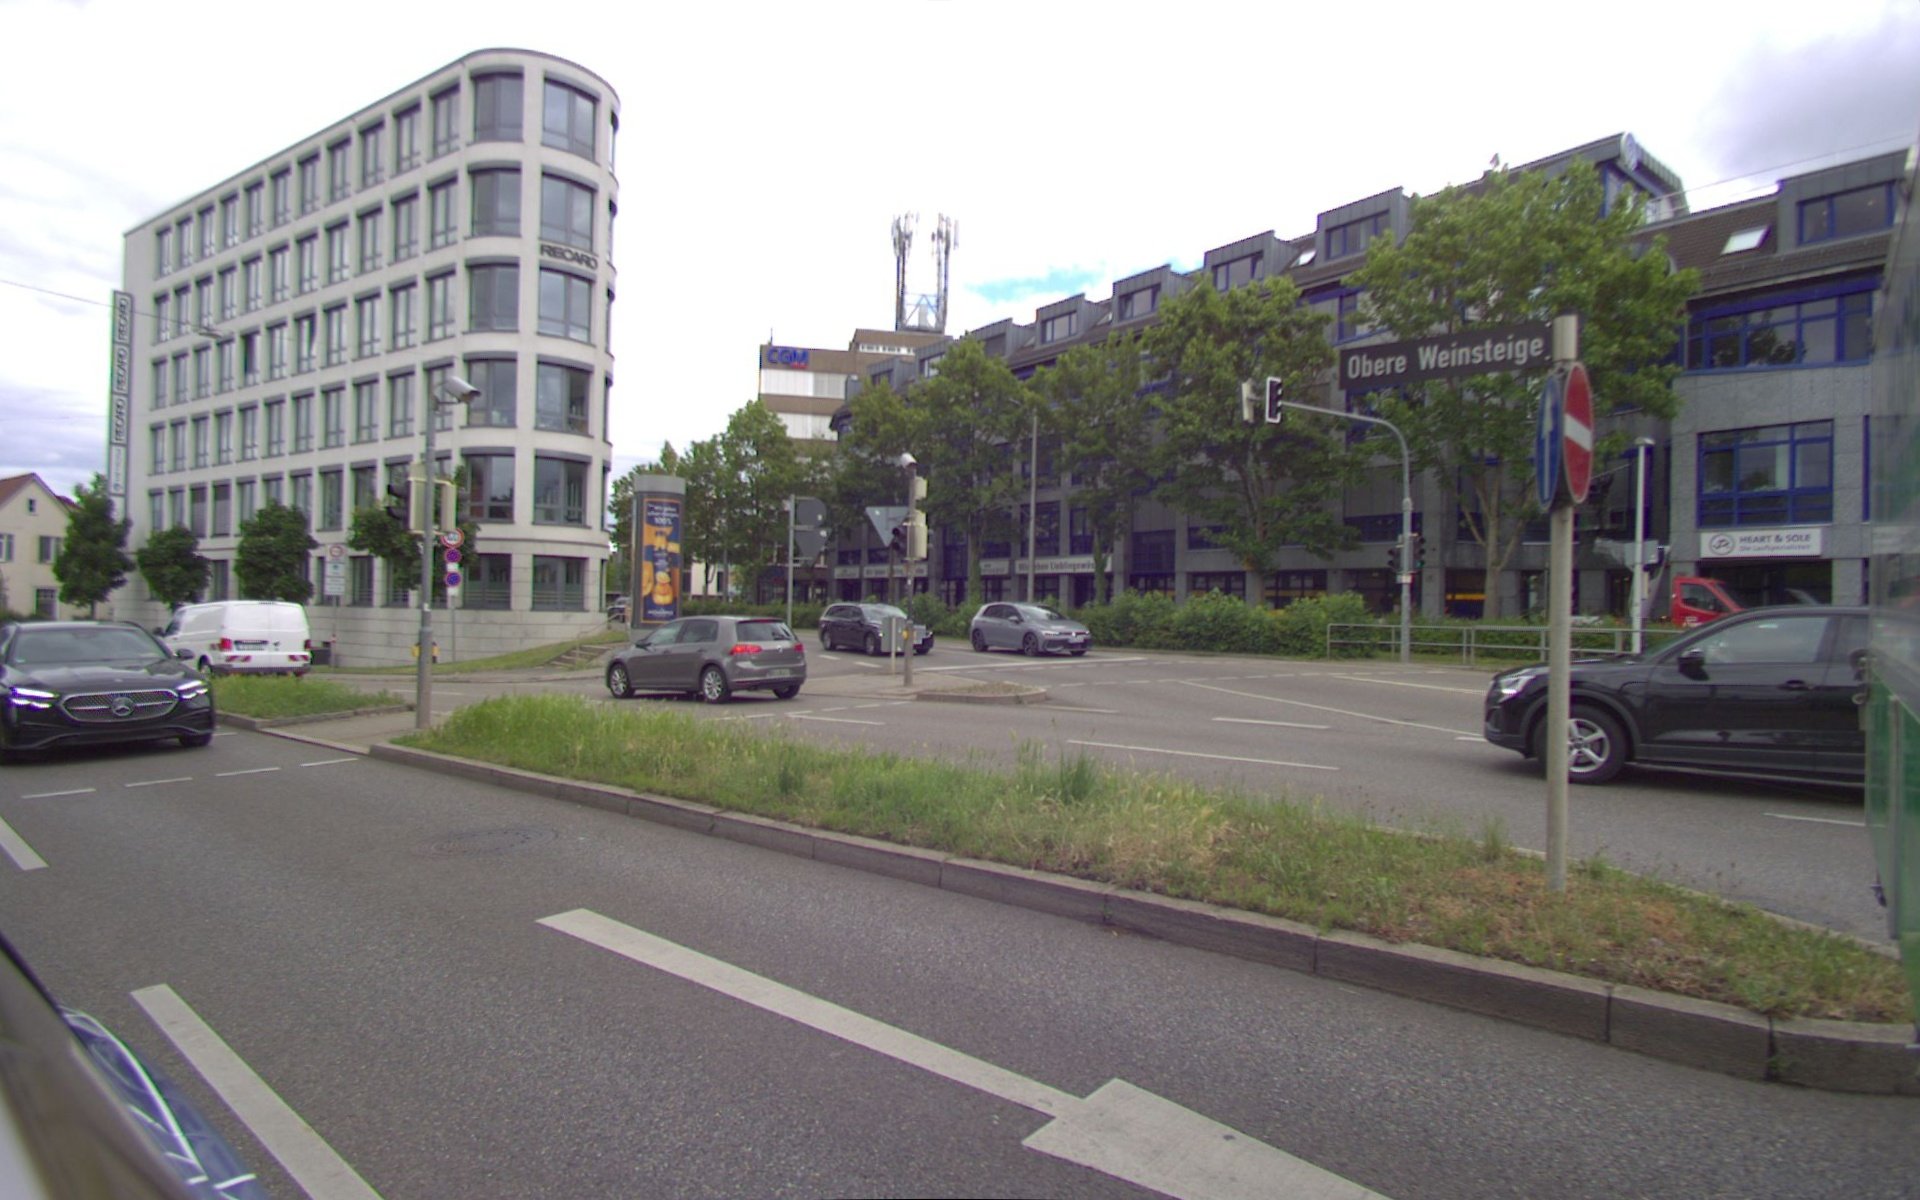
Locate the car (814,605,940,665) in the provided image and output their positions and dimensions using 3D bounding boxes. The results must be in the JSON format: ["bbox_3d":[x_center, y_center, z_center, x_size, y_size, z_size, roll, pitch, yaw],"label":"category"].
[{"bbox_3d":[-2.461,0.926,28.913,1.751,1.474,4.454,-2,1,-31],"label":"car"}]

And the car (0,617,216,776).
[{"bbox_3d":[-10.413,1.056,11.936,4.335,1.542,1.853,-4,-3,43],"label":"car"}]

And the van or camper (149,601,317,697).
[{"bbox_3d":[-16.959,1.074,23.537,4.442,2.029,1.975,-1,-1,38],"label":"van or camper"}]

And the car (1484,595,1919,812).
[{"bbox_3d":[6.562,0.716,8.034,3.996,1.475,1.733,-1,0,40],"label":"car"}]

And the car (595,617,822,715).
[{"bbox_3d":[-4.412,1.052,17.486,3.995,1.475,1.727,-1,0,38],"label":"car"}]

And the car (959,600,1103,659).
[{"bbox_3d":[1.874,0.775,28.297,1.751,1.474,4.453,-2,0,-31],"label":"car"}]

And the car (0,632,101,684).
[{"bbox_3d":[-27.930,1.744,30.780,4.473,1.492,1.761,-2,-3,36],"label":"car"}]

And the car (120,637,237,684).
[{"bbox_3d":[-25.572,1.957,33.101,3.937,1.389,1.770,-2,-1,32],"label":"car"}]

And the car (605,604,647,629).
[{"bbox_3d":[-21.993,1.036,66.544,1.689,1.474,4.454,-2,1,-31],"label":"car"}]

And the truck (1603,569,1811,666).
[{"bbox_3d":[20.292,0.501,27.666,1.966,2.405,4.012,-2,-1,-30],"label":"truck"}]

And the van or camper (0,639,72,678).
[{"bbox_3d":[-50.247,3.173,54.843,4.859,1.983,2.043,-4,-3,34],"label":"van or camper"}]
